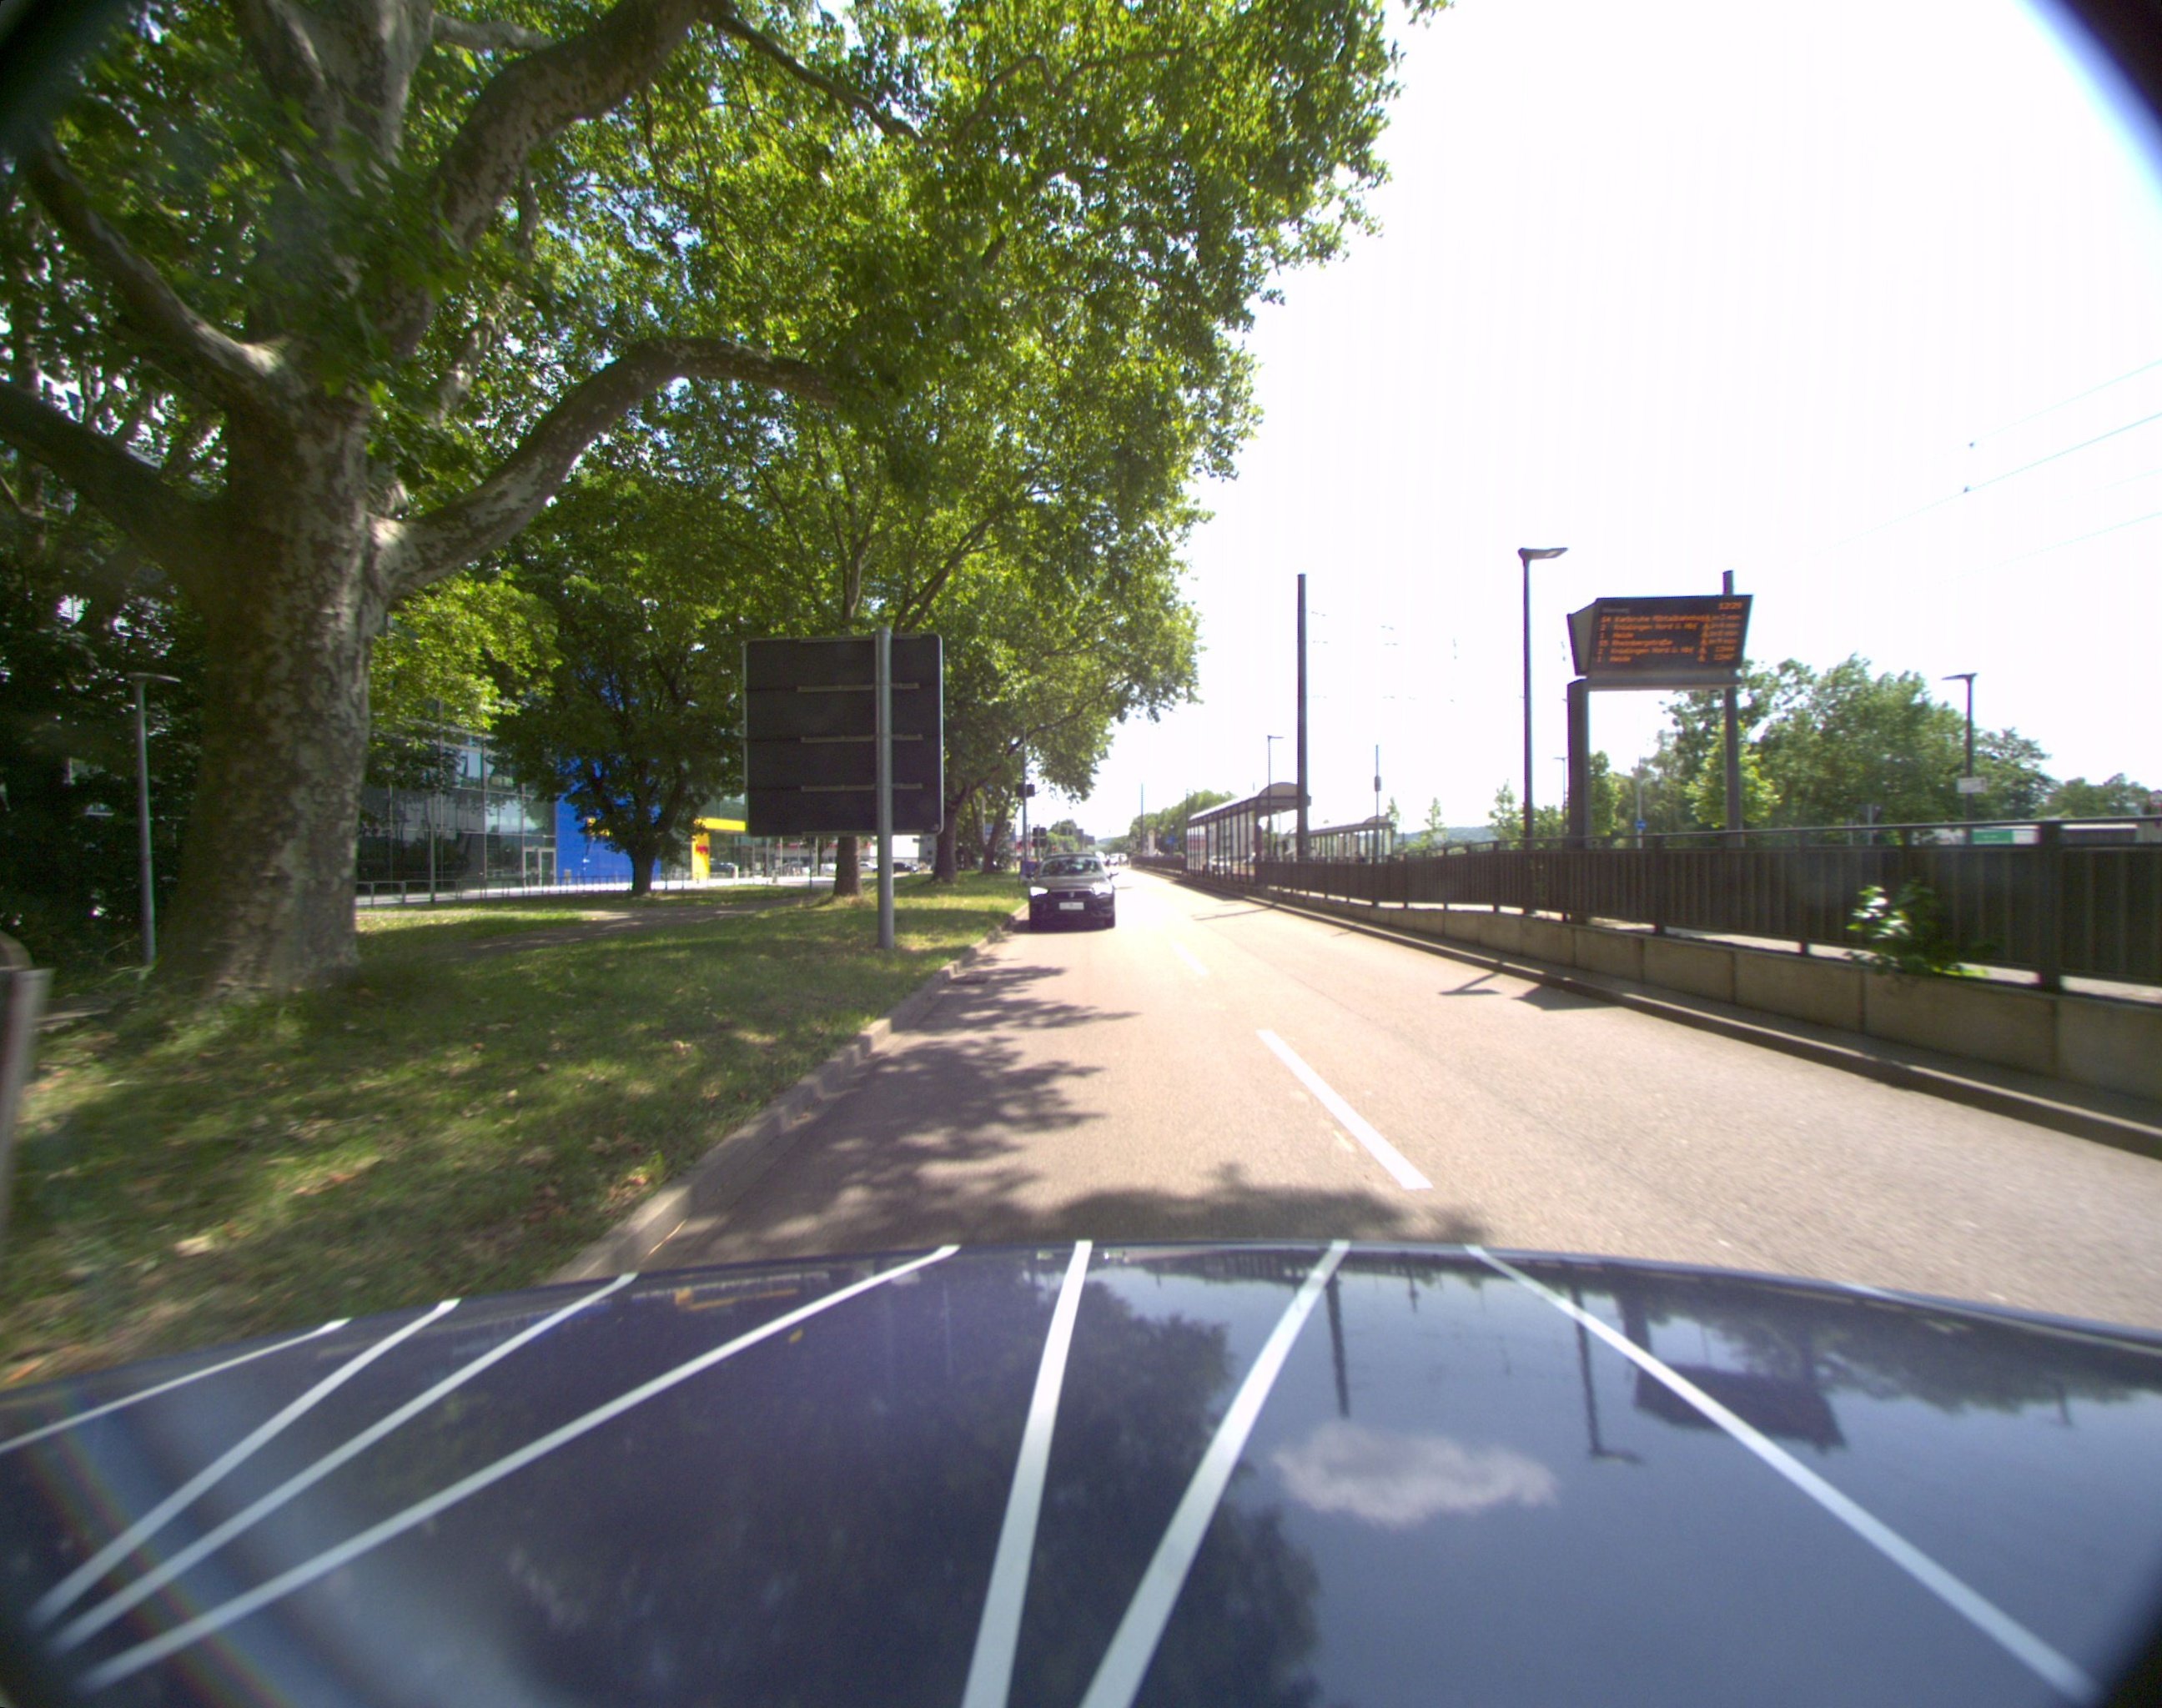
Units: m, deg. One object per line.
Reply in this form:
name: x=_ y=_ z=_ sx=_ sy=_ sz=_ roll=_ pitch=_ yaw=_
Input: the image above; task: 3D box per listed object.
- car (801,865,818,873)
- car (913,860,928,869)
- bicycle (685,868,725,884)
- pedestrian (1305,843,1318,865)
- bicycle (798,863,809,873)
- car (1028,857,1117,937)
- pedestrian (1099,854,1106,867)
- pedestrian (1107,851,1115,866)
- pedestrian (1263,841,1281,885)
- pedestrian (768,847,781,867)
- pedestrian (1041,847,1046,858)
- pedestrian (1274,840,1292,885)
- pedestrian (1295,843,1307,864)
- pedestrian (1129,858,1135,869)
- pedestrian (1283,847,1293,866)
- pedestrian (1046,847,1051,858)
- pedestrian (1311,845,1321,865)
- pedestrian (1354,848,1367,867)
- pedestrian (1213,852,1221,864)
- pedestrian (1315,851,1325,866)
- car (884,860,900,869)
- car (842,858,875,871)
car: x=-53.258 y=2.908 z=149.149 sx=1.853 sy=1.537 sz=3.999 roll=-2 pitch=0 yaw=-2
car: x=-34.751 y=2.288 z=164.342 sx=1.998 sy=1.707 sz=4.503 roll=-2 pitch=1 yaw=3
bicycle: x=-23.828 y=1.405 z=48.172 sx=2.065 sy=0.963 sz=0.868 roll=-1 pitch=0 yaw=-3
pedestrian: x=17.791 y=0.006 z=58.638 sx=0.826 sy=1.629 sz=0.579 roll=-1 pitch=0 yaw=38
bicycle: x=-31.174 y=1.568 z=85.240 sx=0.803 sy=1.138 sz=2.430 roll=-1 pitch=1 yaw=-12
car: x=-0.237 y=0.913 z=18.093 sx=1.820 sy=1.583 sz=3.999 roll=-2 pitch=0 yaw=-2
pedestrian: x=2.678 y=0.837 z=96.590 sx=0.787 sy=1.563 sz=0.764 roll=-2 pitch=1 yaw=-2
pedestrian: x=3.575 y=0.571 z=91.568 sx=0.865 sy=1.791 sz=0.883 roll=-2 pitch=1 yaw=-3
pedestrian: x=6.500 y=0.297 z=25.857 sx=0.396 sy=1.499 sz=0.417 roll=-2 pitch=2 yaw=-40
pedestrian: x=-30.649 y=0.332 z=75.998 sx=0.798 sy=2.002 sz=0.733 roll=-1 pitch=0 yaw=13
pedestrian: x=-5.468 y=-0.180 z=111.028 sx=0.528 sy=1.570 sz=0.612 roll=-2 pitch=1 yaw=5
pedestrian: x=6.779 y=0.289 z=25.522 sx=0.396 sy=1.499 sz=0.417 roll=-2 pitch=2 yaw=-40
pedestrian: x=17.418 y=-0.040 z=60.087 sx=0.736 sy=1.719 sz=0.579 roll=-1 pitch=0 yaw=38
pedestrian: x=6.003 y=1.111 z=90.006 sx=0.615 sy=1.337 sz=0.720 roll=-2 pitch=1 yaw=-1
pedestrian: x=17.812 y=0.192 z=65.333 sx=0.558 sy=1.628 sz=0.806 roll=-1 pitch=0 yaw=-6
pedestrian: x=-4.775 y=-0.213 z=111.295 sx=0.528 sy=1.656 sz=0.640 roll=-2 pitch=1 yaw=5
pedestrian: x=17.907 y=0.067 z=57.865 sx=0.578 sy=1.524 sz=0.639 roll=-1 pitch=0 yaw=1
pedestrian: x=17.722 y=0.228 z=48.120 sx=0.578 sy=1.183 sz=0.639 roll=-1 pitch=0 yaw=1
pedestrian: x=17.689 y=0.492 z=98.784 sx=0.959 sy=1.600 sz=0.764 roll=-1 pitch=0 yaw=-2
pedestrian: x=17.616 y=0.311 z=55.992 sx=0.578 sy=1.088 sz=0.639 roll=-1 pitch=0 yaw=1
car: x=-42.184 y=2.284 z=169.677 sx=1.998 sy=1.883 sz=4.520 roll=-2 pitch=0 yaw=3
car: x=-31.643 y=1.459 z=108.001 sx=4.079 sy=1.630 sz=2.000 roll=-1 pitch=1 yaw=-1
